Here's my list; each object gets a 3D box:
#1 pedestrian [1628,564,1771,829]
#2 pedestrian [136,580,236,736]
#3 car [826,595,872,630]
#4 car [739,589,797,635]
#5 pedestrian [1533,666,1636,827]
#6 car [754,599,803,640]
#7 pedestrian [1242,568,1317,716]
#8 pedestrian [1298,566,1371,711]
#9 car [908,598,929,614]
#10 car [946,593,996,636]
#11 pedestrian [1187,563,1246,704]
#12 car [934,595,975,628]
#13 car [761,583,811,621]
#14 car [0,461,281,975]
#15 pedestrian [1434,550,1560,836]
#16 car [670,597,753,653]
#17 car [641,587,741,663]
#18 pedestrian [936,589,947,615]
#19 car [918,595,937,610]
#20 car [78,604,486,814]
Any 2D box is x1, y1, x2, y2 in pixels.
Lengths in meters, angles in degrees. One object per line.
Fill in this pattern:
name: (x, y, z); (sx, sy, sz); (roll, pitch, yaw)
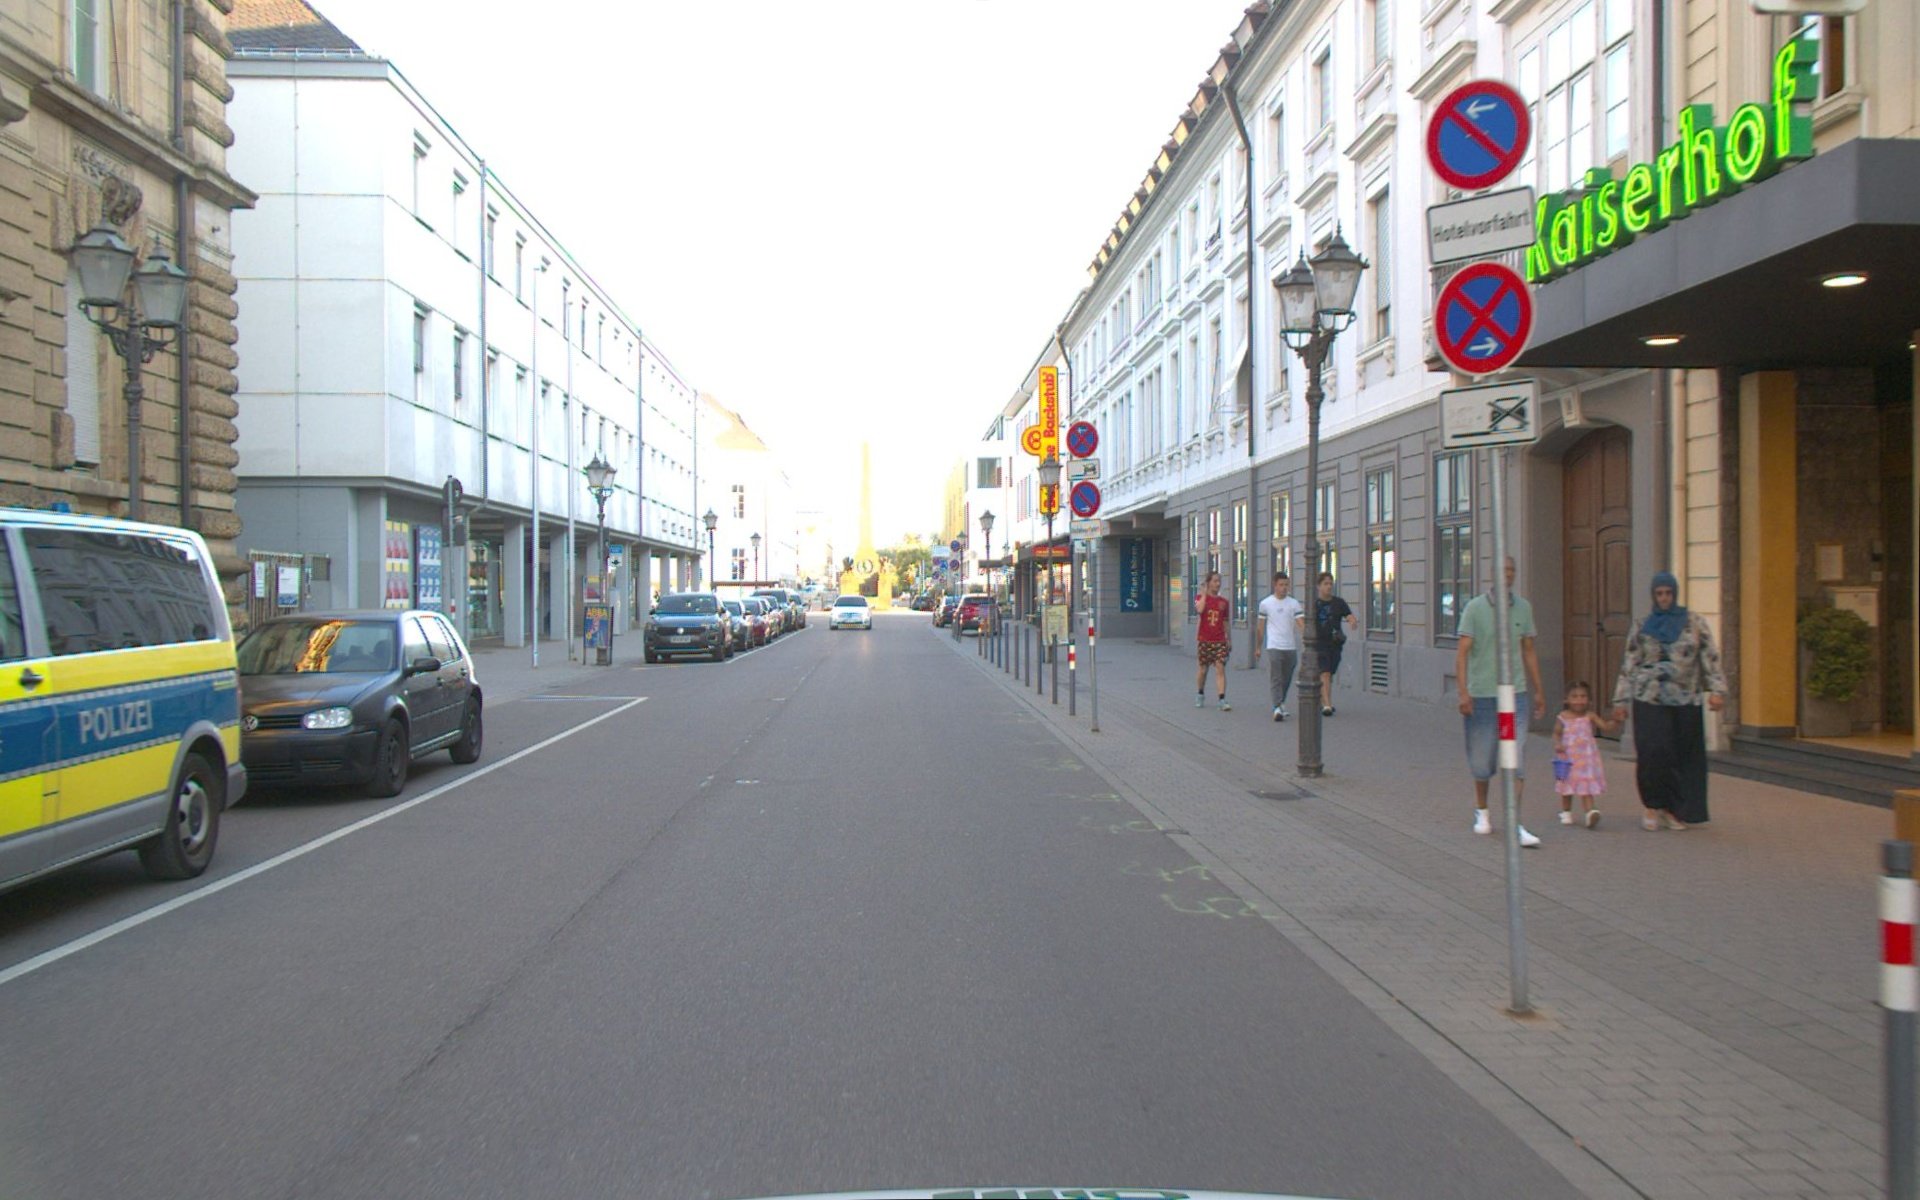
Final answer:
pedestrian: (4.700, 0.596, 10.538); (0.617, 1.629, 0.614); (0, 0, -2)
pedestrian: (-9.032, 0.658, 19.328); (0.699, 1.760, 0.896); (2, 0, -1)
car: (-4.661, 0.508, 69.814); (1.749, 1.433, 4.087); (-1, 0, -2)
car: (-7.865, 0.477, 68.127); (1.954, 1.758, 4.514); (-2, 0, -2)
pedestrian: (4.096, 0.947, 10.861); (0.450, 0.997, 0.558); (0, 0, -1)
car: (-6.807, 0.711, 62.312); (1.640, 1.424, 3.997); (-1, 0, -3)
pedestrian: (3.894, 0.498, 20.216); (0.732, 1.760, 0.881); (0, 0, 0)
pedestrian: (4.660, 0.466, 20.631); (0.699, 1.760, 0.873); (0, 0, -1)
car: (-3.934, 0.573, 158.236); (1.953, 1.489, 3.999); (-1, 0, -1)
car: (0.397, 0.529, 62.868); (1.724, 1.550, 3.675); (0, 0, -2)
pedestrian: (3.385, 0.431, 21.898); (0.607, 1.821, 0.913); (0, 0, -1)
car: (-0.270, 0.506, 76.617); (1.765, 1.489, 4.115); (0, 0, -2)
car: (-7.866, 0.092, 75.017); (1.953, 1.691, 3.998); (0, 0, -2)
car: (-4.982, 0.504, 7.557); (1.954, 2.114, 4.986); (-1, 0, -4)
pedestrian: (3.389, 0.572, 10.474); (0.595, 1.760, 0.558); (0, 0, -2)
car: (-6.807, 0.657, 45.649); (1.749, 1.433, 4.087); (-1, 0, -2)
car: (-6.196, 0.549, 38.503); (1.749, 1.643, 4.164); (-1, 0, -2)
pedestrian: (-1.209, 0.129, 109.138); (0.676, 1.676, 0.695); (-1, 0, -3)
car: (-3.281, 0.251, 166.746); (1.953, 1.489, 3.999); (-1, 0, -1)
car: (-5.645, 0.814, 14.405); (1.953, 1.520, 4.162); (-1, 0, -2)
